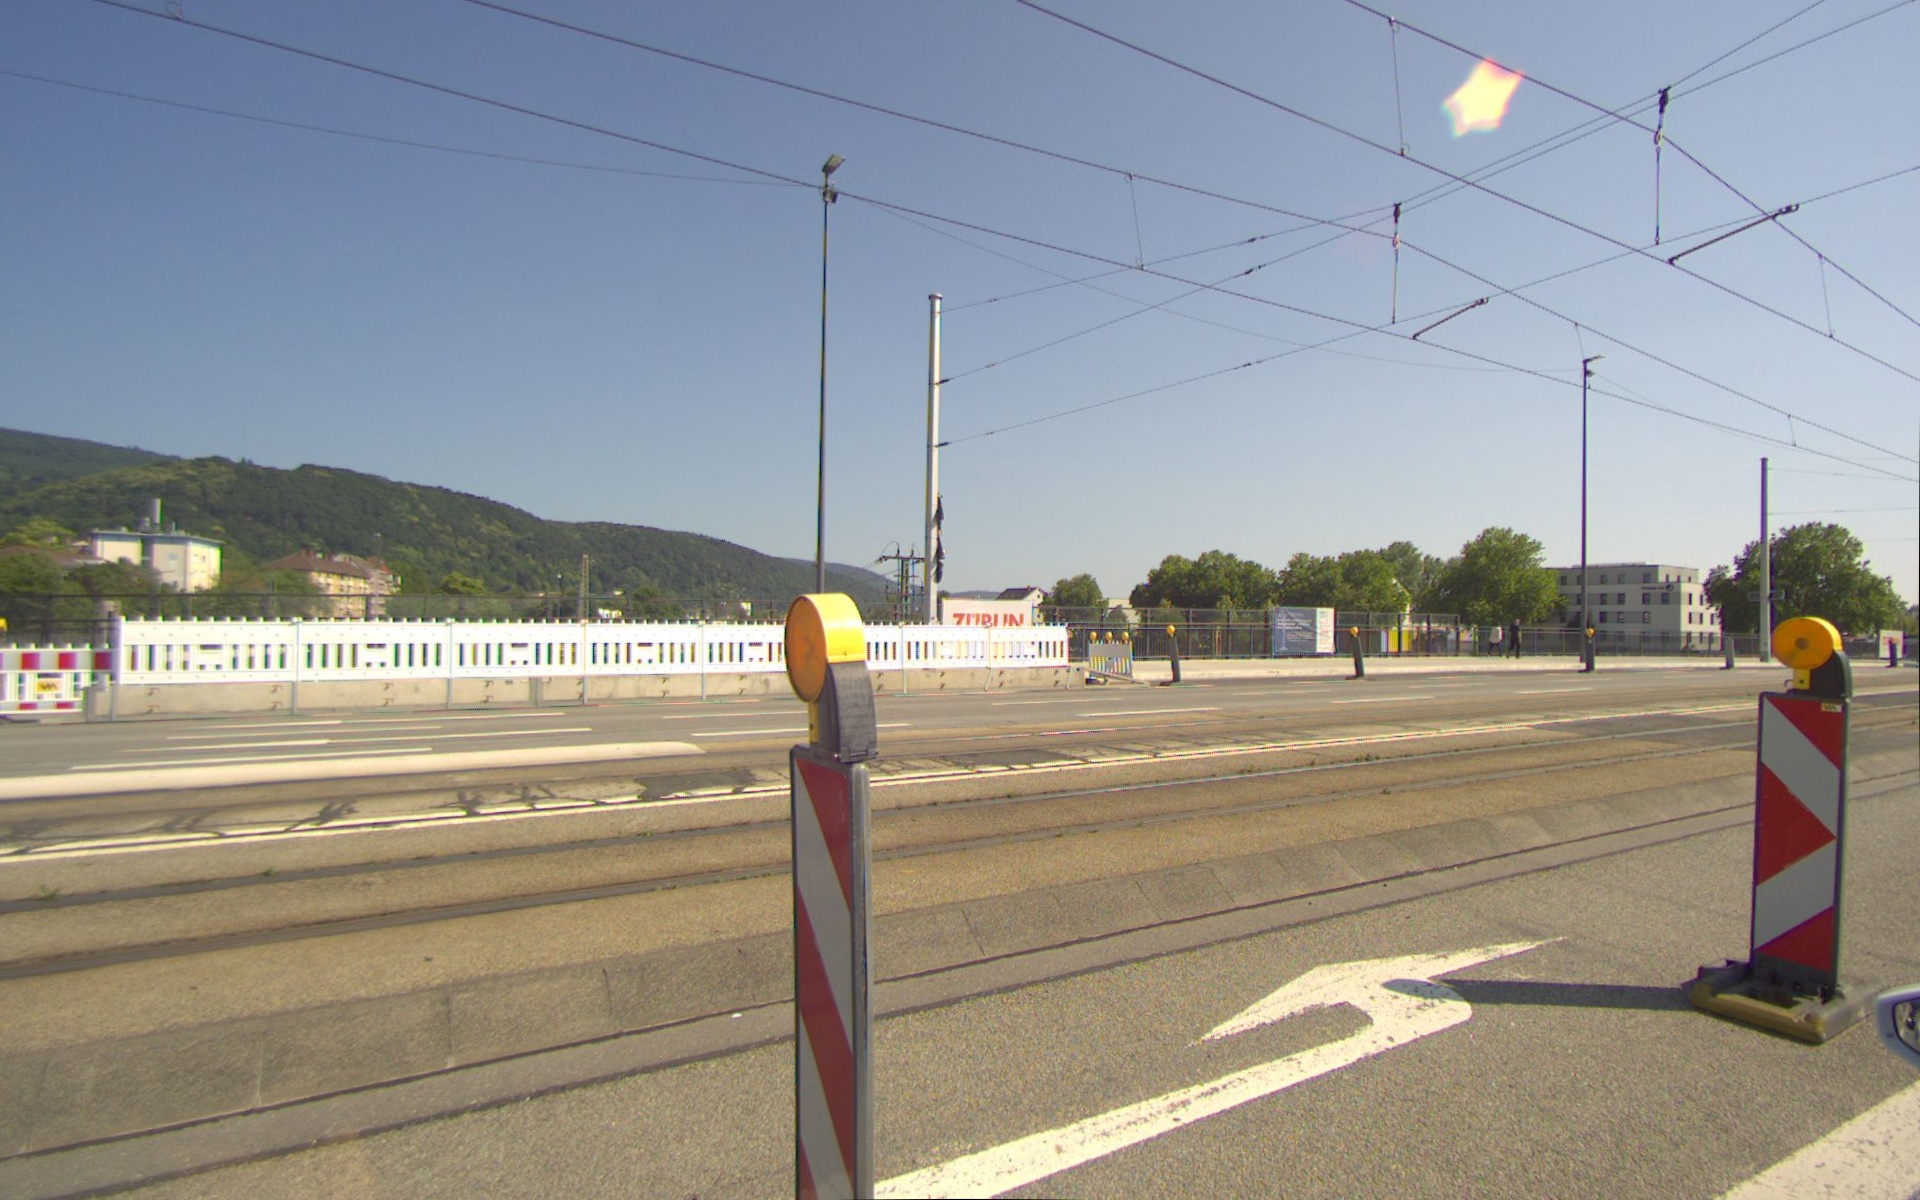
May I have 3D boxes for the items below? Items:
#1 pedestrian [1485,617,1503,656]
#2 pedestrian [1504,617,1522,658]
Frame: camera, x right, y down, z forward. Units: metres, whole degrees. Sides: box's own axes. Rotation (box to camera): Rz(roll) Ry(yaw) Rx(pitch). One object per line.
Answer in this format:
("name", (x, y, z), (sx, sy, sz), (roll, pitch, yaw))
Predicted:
("pedestrian", (23.618, 1.625, 44.406), (0.468, 1.717, 0.493), (2, 0, -30))
("pedestrian", (23.956, 1.620, 43.515), (0.468, 1.717, 0.493), (2, 0, -30))
